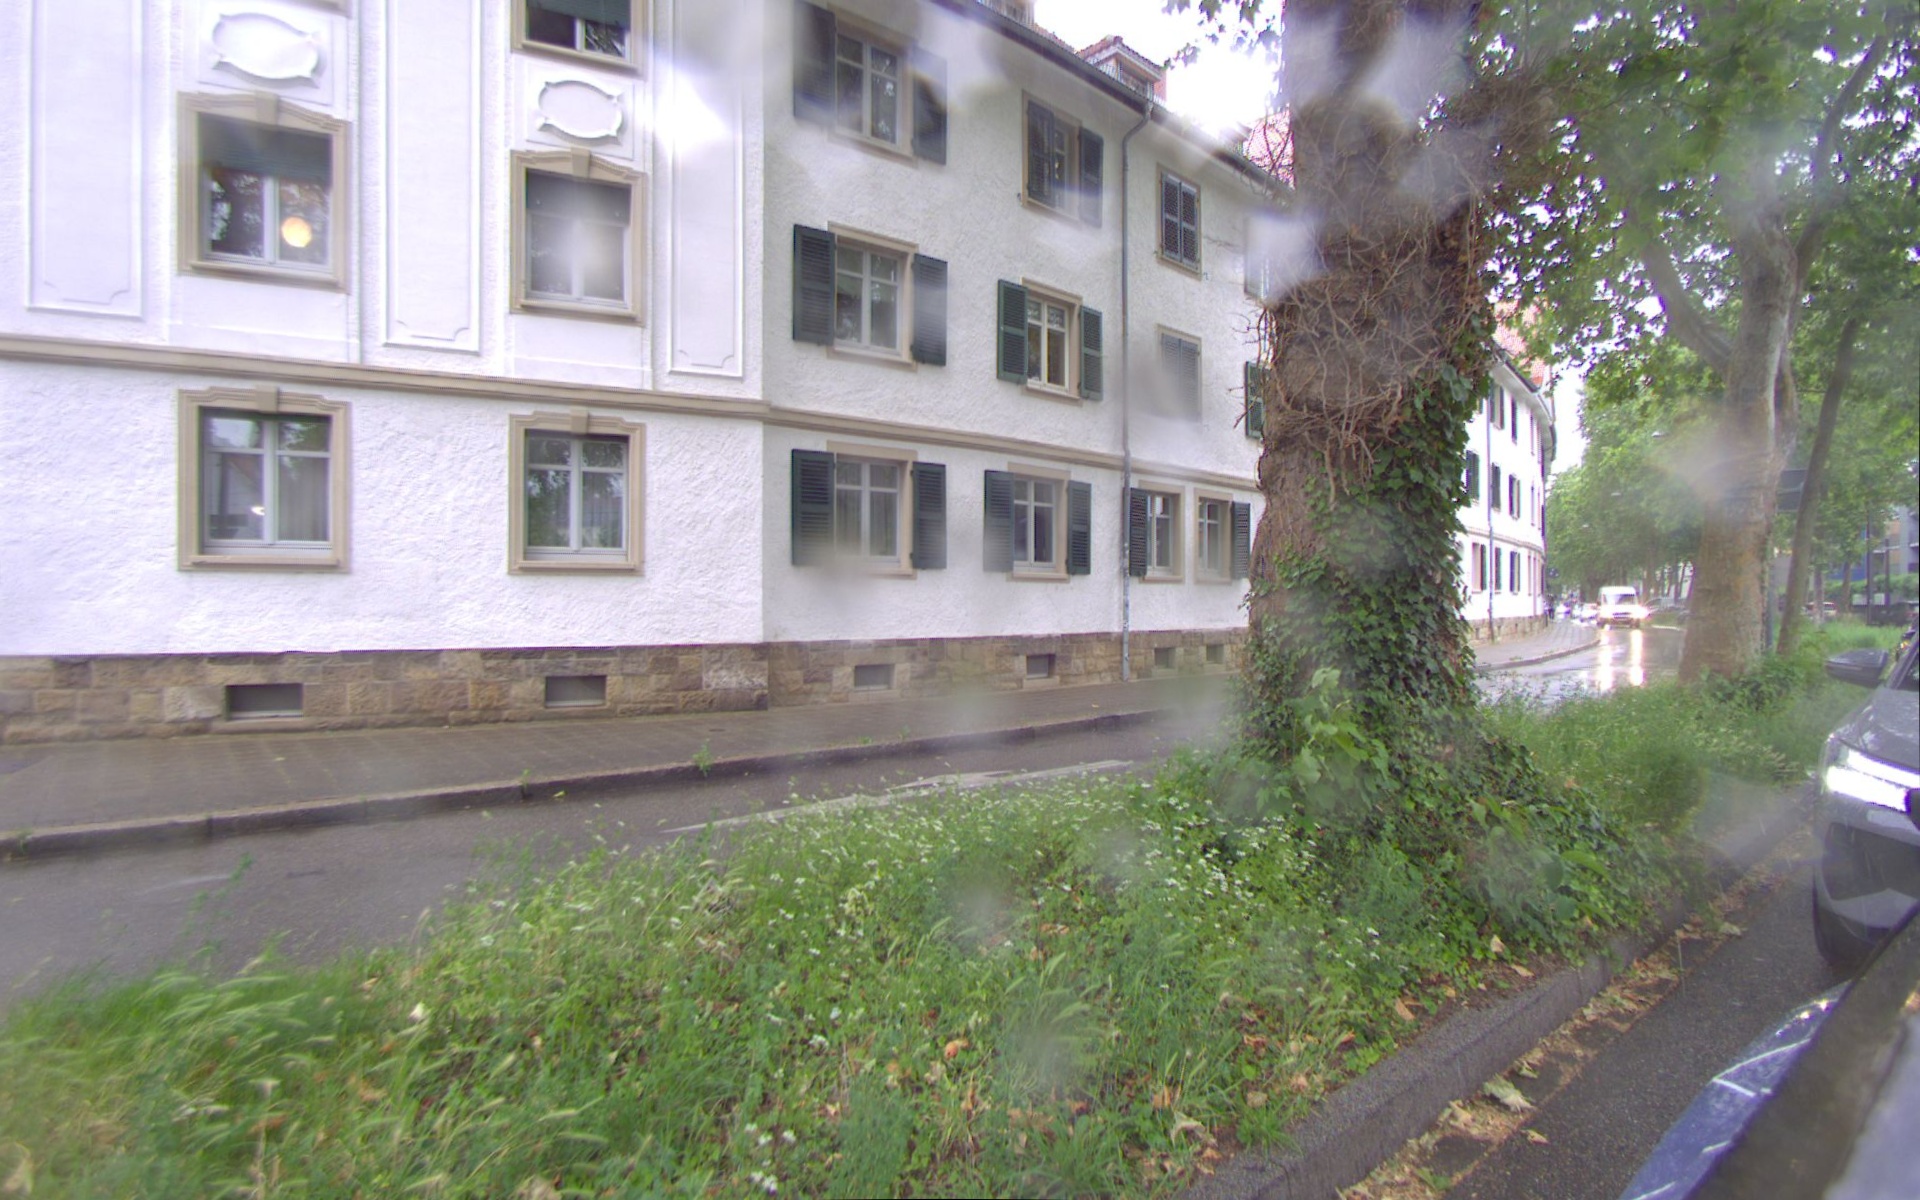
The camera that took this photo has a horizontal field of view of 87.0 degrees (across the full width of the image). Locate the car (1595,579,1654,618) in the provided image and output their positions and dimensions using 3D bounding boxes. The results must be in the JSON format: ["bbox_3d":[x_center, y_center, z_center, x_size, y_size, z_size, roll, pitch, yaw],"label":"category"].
[{"bbox_3d":[41.119,-0.109,62.751,2.173,2.292,5.366,0,0,24],"label":"car"}]

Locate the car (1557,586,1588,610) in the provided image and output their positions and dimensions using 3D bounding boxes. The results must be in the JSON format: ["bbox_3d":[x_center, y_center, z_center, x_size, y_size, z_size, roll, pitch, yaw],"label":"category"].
[{"bbox_3d":[55.884,-0.199,92.393,1.983,2.038,3.961,5,3,28],"label":"car"}]

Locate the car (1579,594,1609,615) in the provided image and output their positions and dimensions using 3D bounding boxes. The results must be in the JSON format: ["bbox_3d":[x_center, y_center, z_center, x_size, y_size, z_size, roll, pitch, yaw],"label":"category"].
[{"bbox_3d":[50.039,0.340,79.922,1.816,1.545,3.959,0,0,29],"label":"car"}]

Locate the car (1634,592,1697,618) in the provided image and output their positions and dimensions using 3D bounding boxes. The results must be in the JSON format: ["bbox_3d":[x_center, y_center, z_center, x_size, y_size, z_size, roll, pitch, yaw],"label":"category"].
[{"bbox_3d":[55.921,0.377,80.301,3.969,2.039,1.977,0,-1,32],"label":"car"}]

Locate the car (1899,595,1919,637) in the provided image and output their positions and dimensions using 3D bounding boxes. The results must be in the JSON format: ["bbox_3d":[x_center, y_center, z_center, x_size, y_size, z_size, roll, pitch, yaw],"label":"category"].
[{"bbox_3d":[40.544,0.663,41.721,1.795,1.704,4.550,0,0,32],"label":"car"}]

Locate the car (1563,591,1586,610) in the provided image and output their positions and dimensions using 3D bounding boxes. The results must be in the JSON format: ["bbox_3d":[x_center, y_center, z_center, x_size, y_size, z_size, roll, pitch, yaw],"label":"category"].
[{"bbox_3d":[75.302,0.041,124.084,1.983,2.038,3.961,5,3,28],"label":"car"}]

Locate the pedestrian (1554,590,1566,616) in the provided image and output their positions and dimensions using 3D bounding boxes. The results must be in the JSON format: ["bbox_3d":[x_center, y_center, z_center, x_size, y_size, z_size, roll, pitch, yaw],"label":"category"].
[{"bbox_3d":[41.979,0.210,70.822,0.668,1.845,0.672,0,0,31],"label":"pedestrian"}]

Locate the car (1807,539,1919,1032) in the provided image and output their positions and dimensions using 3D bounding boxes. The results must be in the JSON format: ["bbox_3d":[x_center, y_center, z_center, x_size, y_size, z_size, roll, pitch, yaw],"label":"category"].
[{"bbox_3d":[5.150,0.615,4.320,4.039,1.662,1.913,0,0,-44],"label":"car"}]
